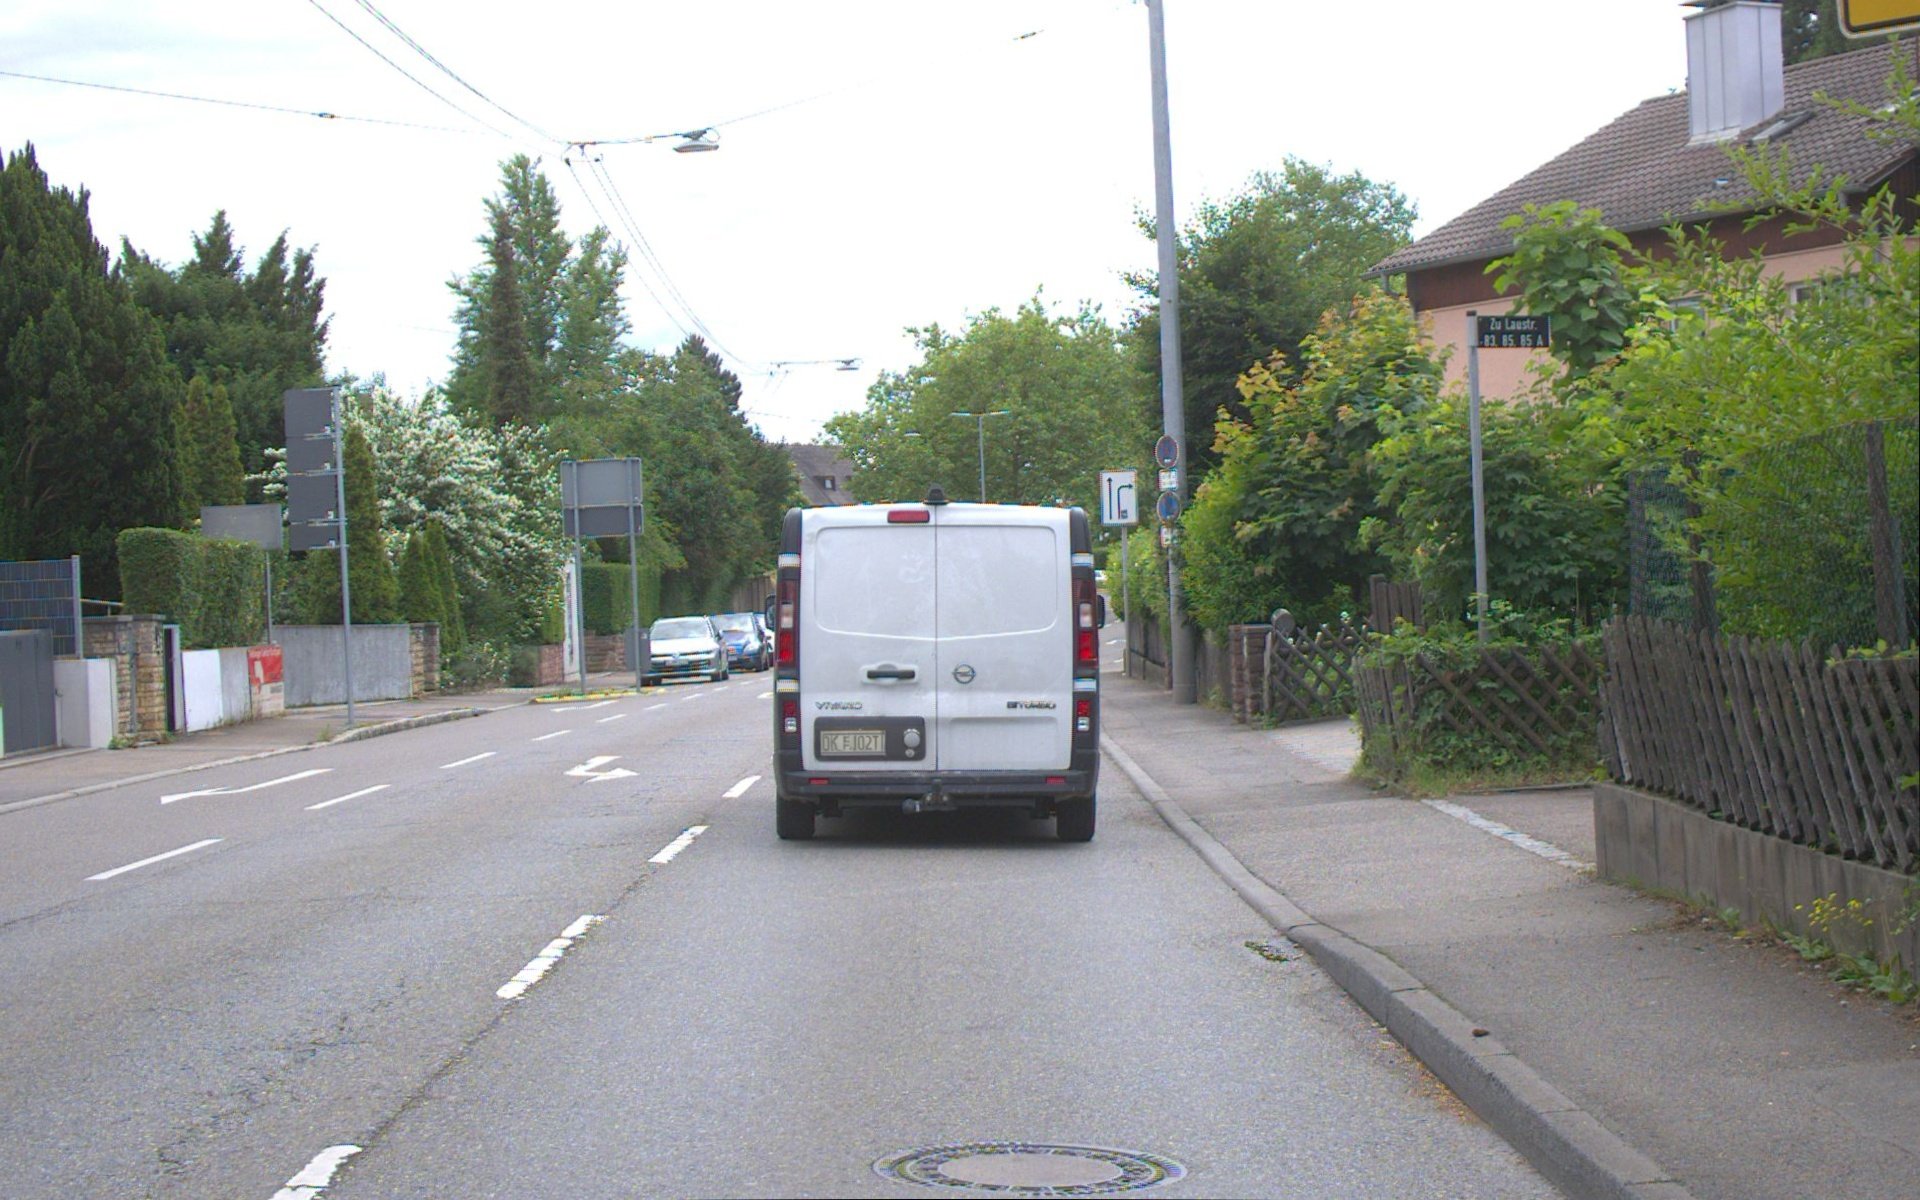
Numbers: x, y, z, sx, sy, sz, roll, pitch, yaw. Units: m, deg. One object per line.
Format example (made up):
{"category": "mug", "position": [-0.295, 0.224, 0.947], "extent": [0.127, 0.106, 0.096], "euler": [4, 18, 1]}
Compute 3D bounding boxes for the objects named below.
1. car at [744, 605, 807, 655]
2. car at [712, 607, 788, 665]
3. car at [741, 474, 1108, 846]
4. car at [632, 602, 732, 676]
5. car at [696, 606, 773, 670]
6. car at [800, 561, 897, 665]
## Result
{"category": "car", "position": [-5.889, 0.943, 110.238], "extent": [1.669, 1.483, 4.431], "euler": [-3, 0, 0]}
{"category": "car", "position": [-5.983, 1.023, 98.490], "extent": [1.889, 1.489, 4.027], "euler": [-3, 0, -1]}
{"category": "car", "position": [-0.217, 0.321, 21.421], "extent": [2.006, 2.031, 5.010], "euler": [0, 0, -1]}
{"category": "car", "position": [-6.093, 0.835, 75.776], "extent": [1.809, 1.450, 4.413], "euler": [-4, 0, -1]}
{"category": "car", "position": [-5.906, 0.988, 90.337], "extent": [1.678, 1.551, 3.971], "euler": [-3, 0, 0]}
{"category": "car", "position": [-2.844, 0.292, 89.010], "extent": [2.111, 2.490, 6.124], "euler": [-2, 1, 1]}
